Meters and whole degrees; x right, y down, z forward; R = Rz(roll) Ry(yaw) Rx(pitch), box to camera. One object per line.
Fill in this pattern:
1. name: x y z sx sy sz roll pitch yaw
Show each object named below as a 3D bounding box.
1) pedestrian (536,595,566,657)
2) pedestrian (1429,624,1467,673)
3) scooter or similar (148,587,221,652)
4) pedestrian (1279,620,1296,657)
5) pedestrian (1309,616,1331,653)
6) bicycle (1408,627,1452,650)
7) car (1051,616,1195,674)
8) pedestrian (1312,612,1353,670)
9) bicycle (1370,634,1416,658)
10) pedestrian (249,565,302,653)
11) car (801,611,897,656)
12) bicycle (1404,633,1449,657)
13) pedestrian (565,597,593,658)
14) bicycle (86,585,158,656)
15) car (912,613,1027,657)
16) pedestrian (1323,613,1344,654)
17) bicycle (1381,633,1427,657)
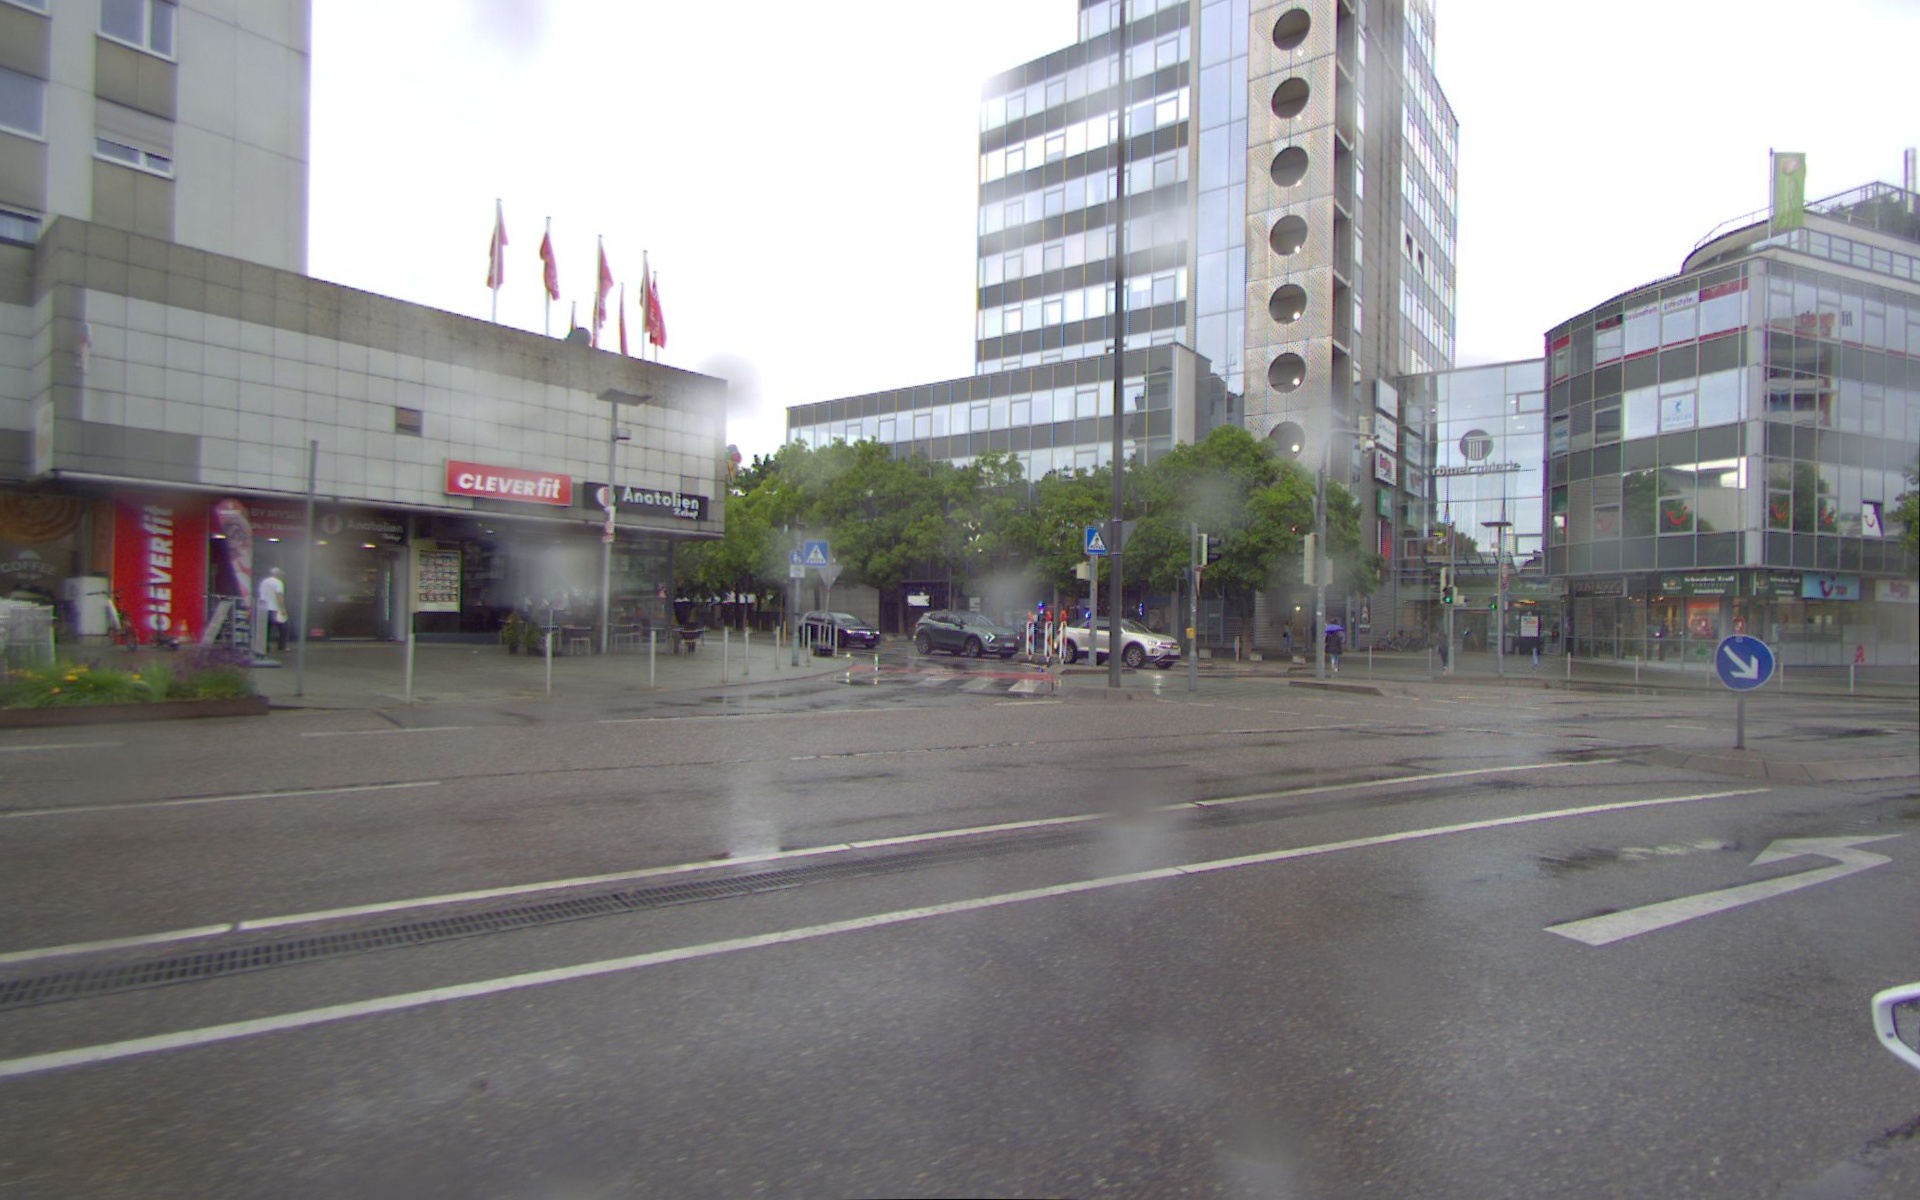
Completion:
1. pedestrian: -9.250 0.589 22.736 0.528 1.365 0.495 2 -1 -18
2. pedestrian: 18.398 1.818 37.894 1.009 1.843 0.844 1 -1 -20
3. scooter or similar: -14.974 0.353 19.364 2.555 1.190 0.639 1 -1 42
4. pedestrian: 17.143 2.012 52.541 0.738 1.893 0.834 1 -1 11
5. pedestrian: 18.647 1.803 52.054 0.739 1.893 0.833 1 -1 -6
6. bicycle: 27.791 2.274 59.444 2.244 1.263 0.674 0 -2 37
7. car: 5.061 1.352 31.517 4.148 1.616 1.859 1 0 44
8. pedestrian: 13.580 1.471 36.576 1.145 2.040 1.325 1 0 31
9. bicycle: 24.041 2.531 55.813 2.244 1.263 0.674 0 -2 37
10. pedestrian: -13.527 0.182 19.870 0.705 1.715 0.653 1 0 -22
11. car: -4.642 1.344 41.588 3.946 1.616 1.858 3 0 45
12. bicycle: 26.802 2.575 57.677 2.244 1.263 0.674 0 -2 37
13. pedestrian: -8.679 0.625 22.907 0.528 1.365 0.496 1 0 -16
14. bicycle: -15.623 0.347 18.693 2.517 1.239 0.693 1 0 43
15. car: 0.298 1.235 36.305 4.004 1.439 1.858 1 -1 45
16. pedestrian: 18.943 1.695 50.965 0.758 2.040 0.706 1 0 -39
17. bicycle: 24.938 2.535 56.439 2.244 1.263 0.674 1 0 37
